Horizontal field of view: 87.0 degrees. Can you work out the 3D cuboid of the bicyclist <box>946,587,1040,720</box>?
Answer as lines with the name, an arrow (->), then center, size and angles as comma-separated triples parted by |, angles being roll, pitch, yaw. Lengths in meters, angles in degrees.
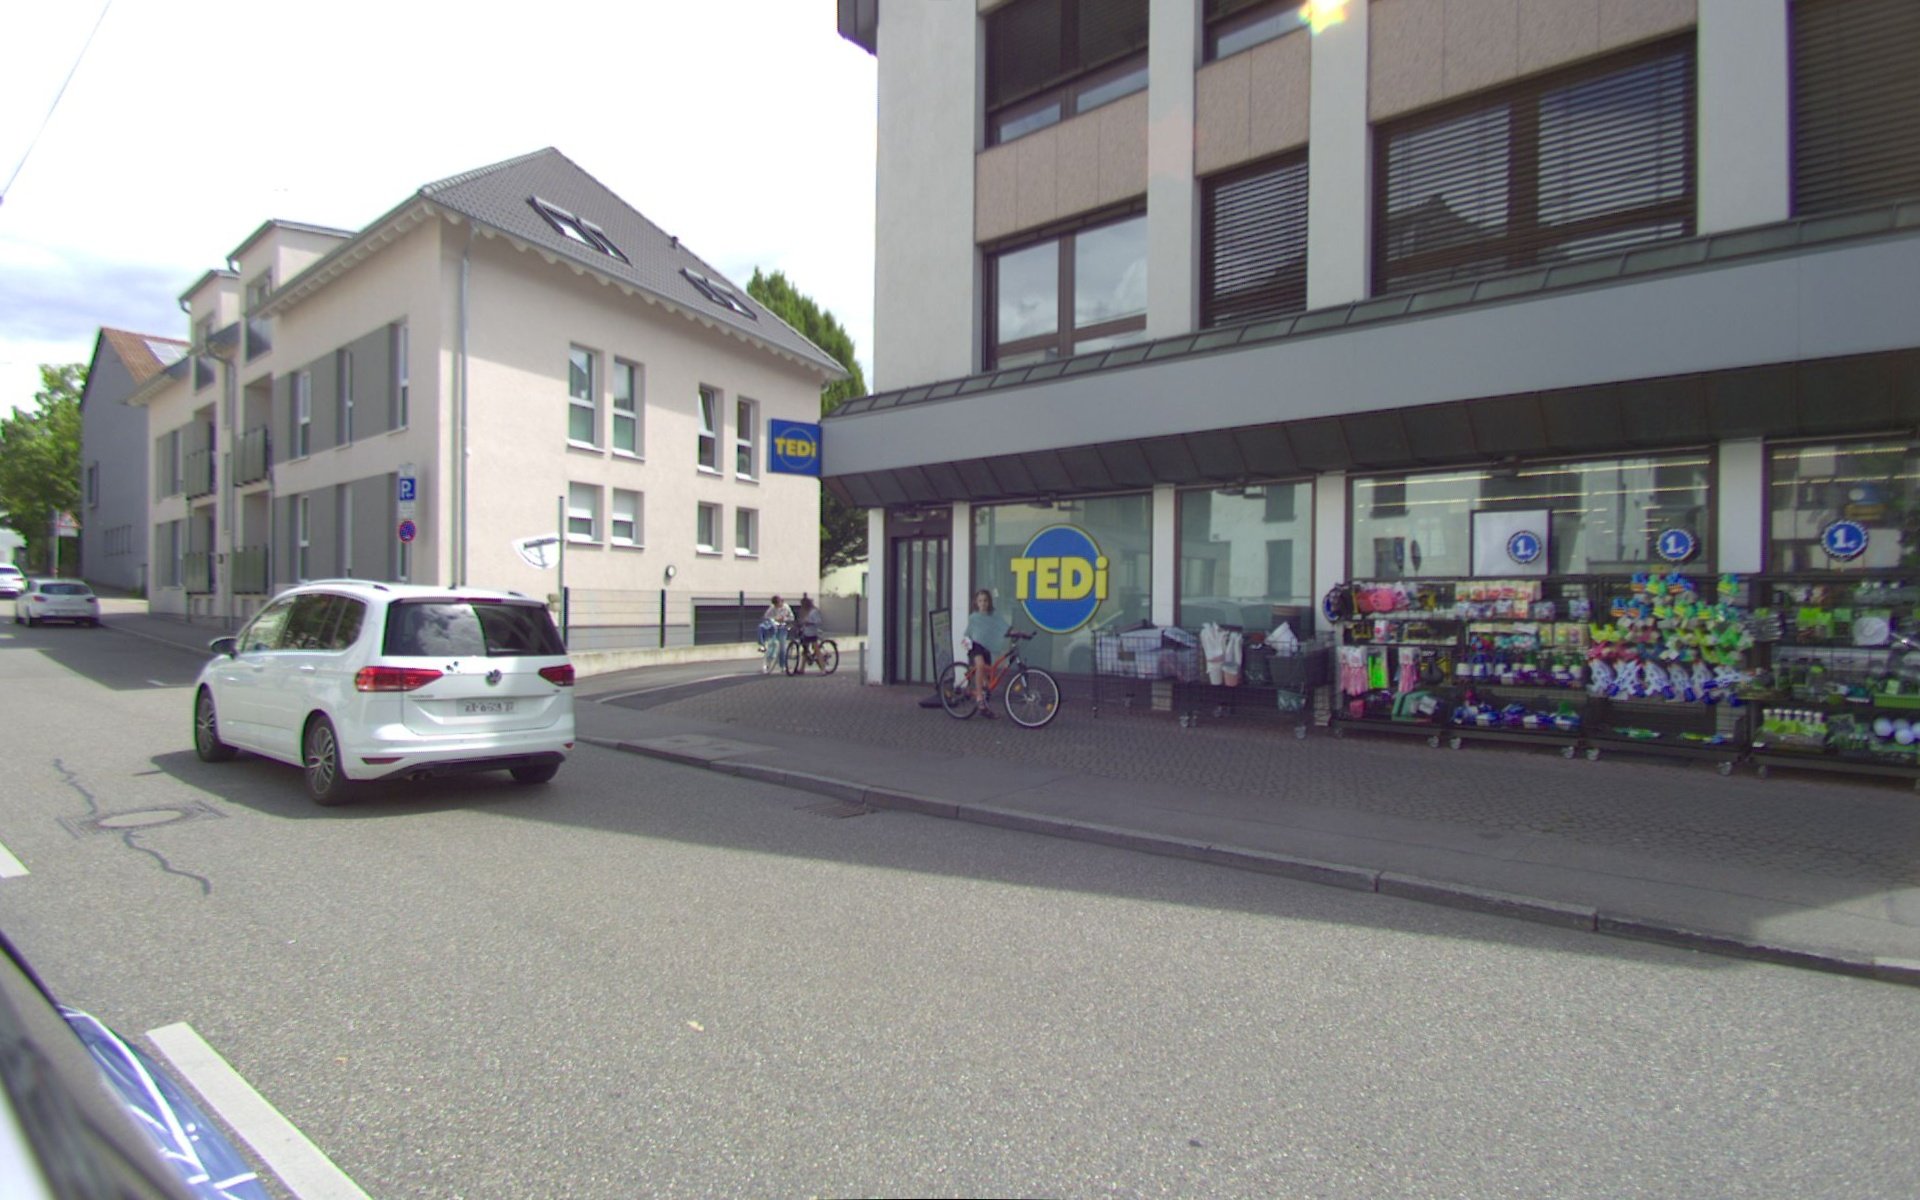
bicyclist -> 0.363, 0.550, 11.002 | 0.761, 1.347, 0.660 | 1, 3, 41

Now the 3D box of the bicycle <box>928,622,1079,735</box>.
bicycle -> 0.442, 0.813, 10.998 | 1.734, 1.058, 0.439 | 1, 4, 41

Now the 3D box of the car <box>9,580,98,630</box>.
car -> -27.767, 0.121, 30.984 | 3.473, 1.340, 1.643 | 3, 1, 42

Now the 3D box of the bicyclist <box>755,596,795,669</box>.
bicyclist -> -3.249, 0.569, 17.744 | 0.631, 1.251, 0.428 | 0, 1, -15

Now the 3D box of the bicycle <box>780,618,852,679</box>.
bicycle -> -2.412, 0.793, 17.107 | 0.550, 0.961, 1.682 | -1, 0, 16

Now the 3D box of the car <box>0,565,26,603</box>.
car -> -41.128, -0.724, 43.009 | 4.066, 1.499, 1.714 | 4, 1, 42

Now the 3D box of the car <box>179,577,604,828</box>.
car -> -4.952, 0.663, 8.578 | 4.116, 1.625, 1.757 | 1, -1, 40

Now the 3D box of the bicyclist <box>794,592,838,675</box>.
bicyclist -> -2.427, 0.568, 17.039 | 0.584, 1.376, 0.422 | -2, -1, 18

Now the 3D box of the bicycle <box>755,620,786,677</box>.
bicycle -> -3.321, 0.821, 17.651 | 0.451, 0.924, 1.594 | 0, 0, -13
